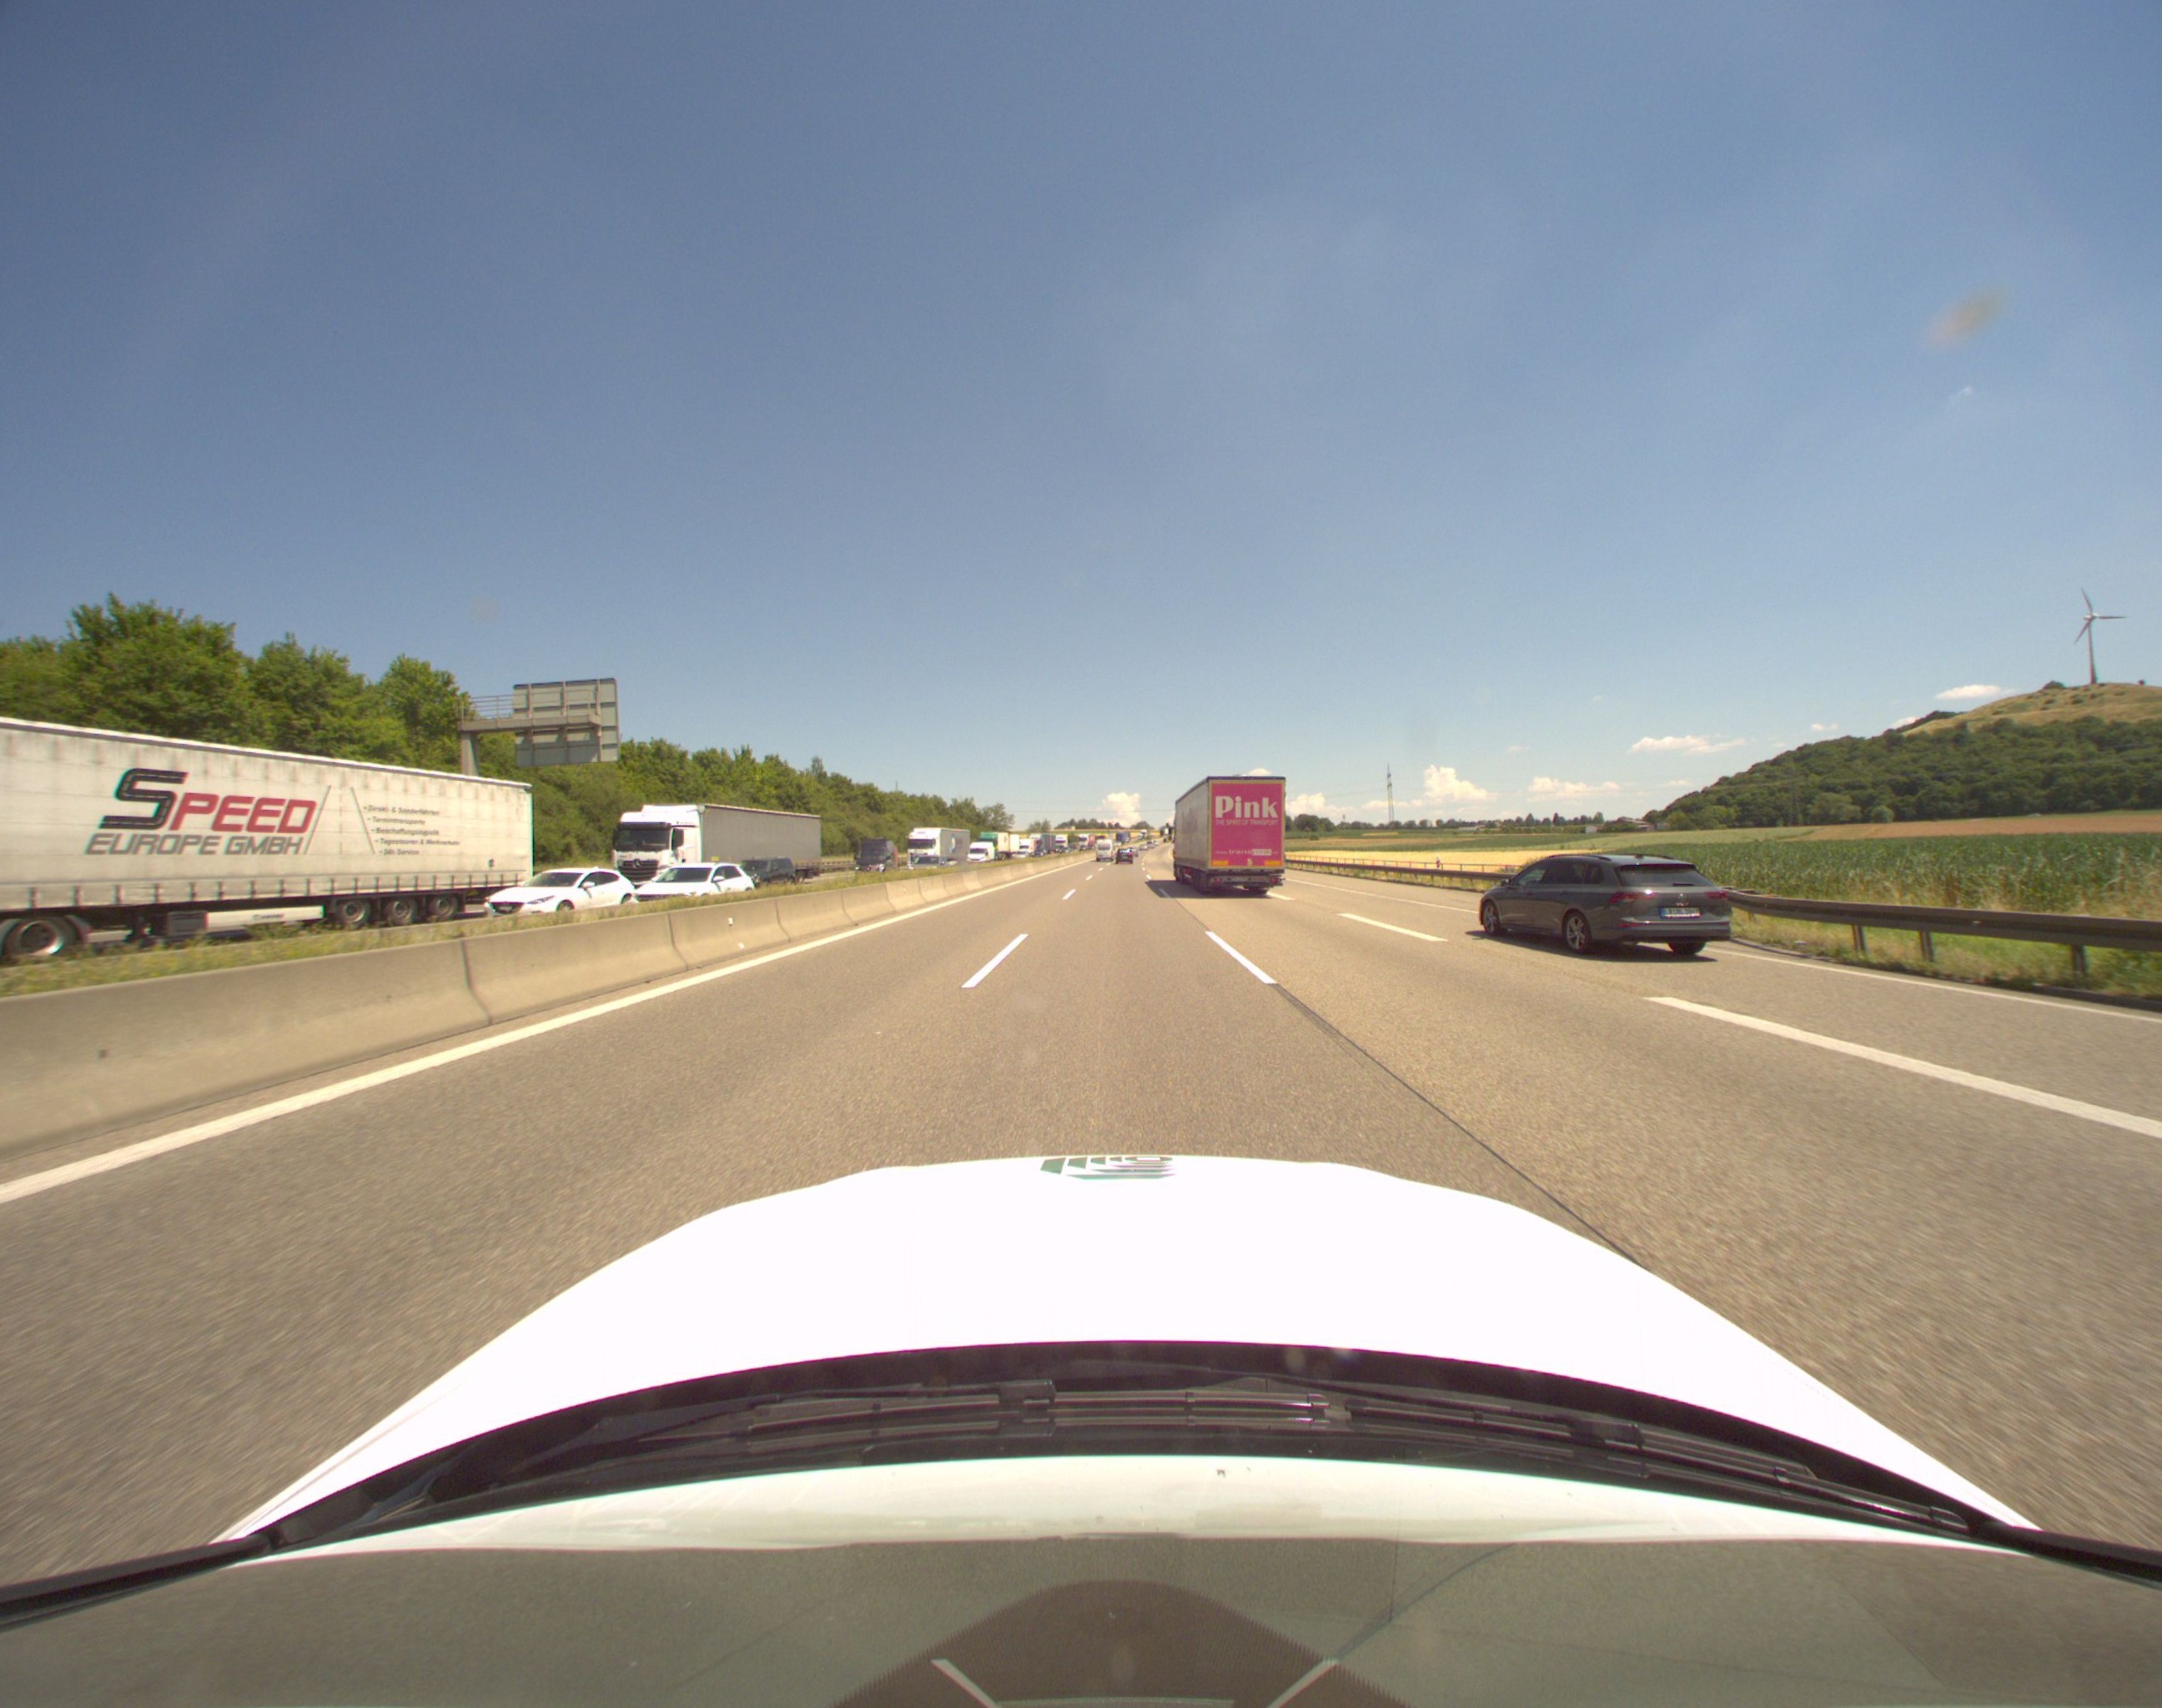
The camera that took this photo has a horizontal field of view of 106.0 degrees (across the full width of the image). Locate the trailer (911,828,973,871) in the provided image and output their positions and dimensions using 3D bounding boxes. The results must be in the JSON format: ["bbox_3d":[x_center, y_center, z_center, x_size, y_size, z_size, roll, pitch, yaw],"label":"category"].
[{"bbox_3d":[-14.580,-0.518,87.280,2.889,4.086,14.465,-1,0,5],"label":"trailer"}]

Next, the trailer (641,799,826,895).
[{"bbox_3d":[-17.503,-0.299,42.877,2.969,4.206,14.204,-1,0,3],"label":"trailer"}]

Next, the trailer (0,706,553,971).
[{"bbox_3d":[-18.611,-0.258,19.186,2.800,4.278,13.877,0,0,2],"label":"trailer"}]

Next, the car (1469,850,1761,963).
[{"bbox_3d":[8.089,0.720,12.963,1.755,1.471,4.537,0,-1,1],"label":"car"}]

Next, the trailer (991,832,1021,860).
[{"bbox_3d":[-11.499,-1.288,125.100,2.905,4.071,8.244,-2,1,6],"label":"trailer"}]

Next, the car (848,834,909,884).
[{"bbox_3d":[-13.349,0.281,54.160,2.229,3.014,6.552,-2,1,1],"label":"car"}]

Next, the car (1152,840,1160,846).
[{"bbox_3d":[21.792,-3.180,236.706,1.983,1.551,4.009,0,2,7],"label":"car"}]

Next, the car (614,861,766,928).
[{"bbox_3d":[-10.637,1.036,22.600,1.986,1.643,4.407,-1,-1,1],"label":"car"}]

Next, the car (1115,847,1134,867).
[{"bbox_3d":[4.534,0.265,85.188,1.840,1.860,4.208,-1,2,1],"label":"car"}]

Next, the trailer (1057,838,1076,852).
[{"bbox_3d":[-3.381,-2.195,192.797,2.843,3.205,12.809,-1,1,7],"label":"trailer"}]

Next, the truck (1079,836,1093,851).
[{"bbox_3d":[1.379,-2.943,226.780,3.018,4.081,6.330,-1,1,8],"label":"truck"}]

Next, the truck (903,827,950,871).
[{"bbox_3d":[-15.126,-0.494,80.283,2.840,4.036,6.611,-1,0,4],"label":"truck"}]

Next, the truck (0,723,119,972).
[{"bbox_3d":[-18.930,-0.094,11.741,2.745,4.042,6.101,0,0,1],"label":"truck"}]

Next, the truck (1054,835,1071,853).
[{"bbox_3d":[-4.213,-2.350,186.023,2.886,3.876,6.190,-1,1,7],"label":"truck"}]

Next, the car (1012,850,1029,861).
[{"bbox_3d":[-8.429,0.177,114.207,1.744,1.460,4.863,-1,-1,3],"label":"car"}]

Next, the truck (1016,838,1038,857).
[{"bbox_3d":[-9.471,-1.137,143.120,2.526,3.207,7.600,-1,1,5],"label":"truck"}]

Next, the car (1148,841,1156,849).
[{"bbox_3d":[17.827,-2.224,205.246,1.985,1.904,4.003,-1,-1,3],"label":"car"}]

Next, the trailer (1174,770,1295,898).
[{"bbox_3d":[5.741,-0.714,33.242,2.907,4.117,13.867,-1,0,3],"label":"trailer"}]

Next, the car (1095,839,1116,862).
[{"bbox_3d":[2.972,-0.424,97.299,2.169,2.625,4.678,-1,-1,5],"label":"car"}]

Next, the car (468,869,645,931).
[{"bbox_3d":[-14.165,1.188,22.360,1.874,1.474,4.408,-1,-1,2],"label":"car"}]

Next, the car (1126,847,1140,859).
[{"bbox_3d":[7.830,-0.190,123.190,1.985,1.750,4.002,-1,-1,2],"label":"car"}]

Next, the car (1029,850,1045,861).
[{"bbox_3d":[-7.001,0.243,129.985,1.853,1.641,5.119,-1,-1,4],"label":"car"}]

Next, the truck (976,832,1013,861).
[{"bbox_3d":[-12.265,-1.120,116.522,2.829,3.898,11.265,-2,1,5],"label":"truck"}]

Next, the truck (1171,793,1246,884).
[{"bbox_3d":[6.064,-0.724,39.703,2.905,4.008,6.515,-1,0,2],"label":"truck"}]

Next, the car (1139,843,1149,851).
[{"bbox_3d":[14.100,-1.529,182.342,1.985,1.585,4.005,-2,0,4],"label":"car"}]

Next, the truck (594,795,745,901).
[{"bbox_3d":[-17.845,-0.245,35.925,2.949,4.210,6.611,-1,0,4],"label":"truck"}]

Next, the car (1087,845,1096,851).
[{"bbox_3d":[2.756,-1.568,209.664,1.983,1.455,5.179,-1,1,6],"label":"car"}]

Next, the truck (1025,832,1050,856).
[{"bbox_3d":[-8.180,-1.969,154.970,2.985,4.233,10.754,-1,1,7],"label":"truck"}]

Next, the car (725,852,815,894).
[{"bbox_3d":[-13.832,0.785,36.559,1.986,1.715,4.794,-1,0,2],"label":"car"}]

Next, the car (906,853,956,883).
[{"bbox_3d":[-9.225,0.837,50.451,1.924,1.688,4.799,-2,0,2],"label":"car"}]

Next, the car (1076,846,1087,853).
[{"bbox_3d":[0.183,-1.048,193.647,1.983,1.527,4.781,-1,1,6],"label":"car"}]

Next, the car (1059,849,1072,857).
[{"bbox_3d":[-3.084,-0.194,161.800,1.984,1.545,5.502,-1,1,5],"label":"car"}]

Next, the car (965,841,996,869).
[{"bbox_3d":[-10.706,0.163,86.980,2.130,2.786,6.630,-1,-1,3],"label":"car"}]
